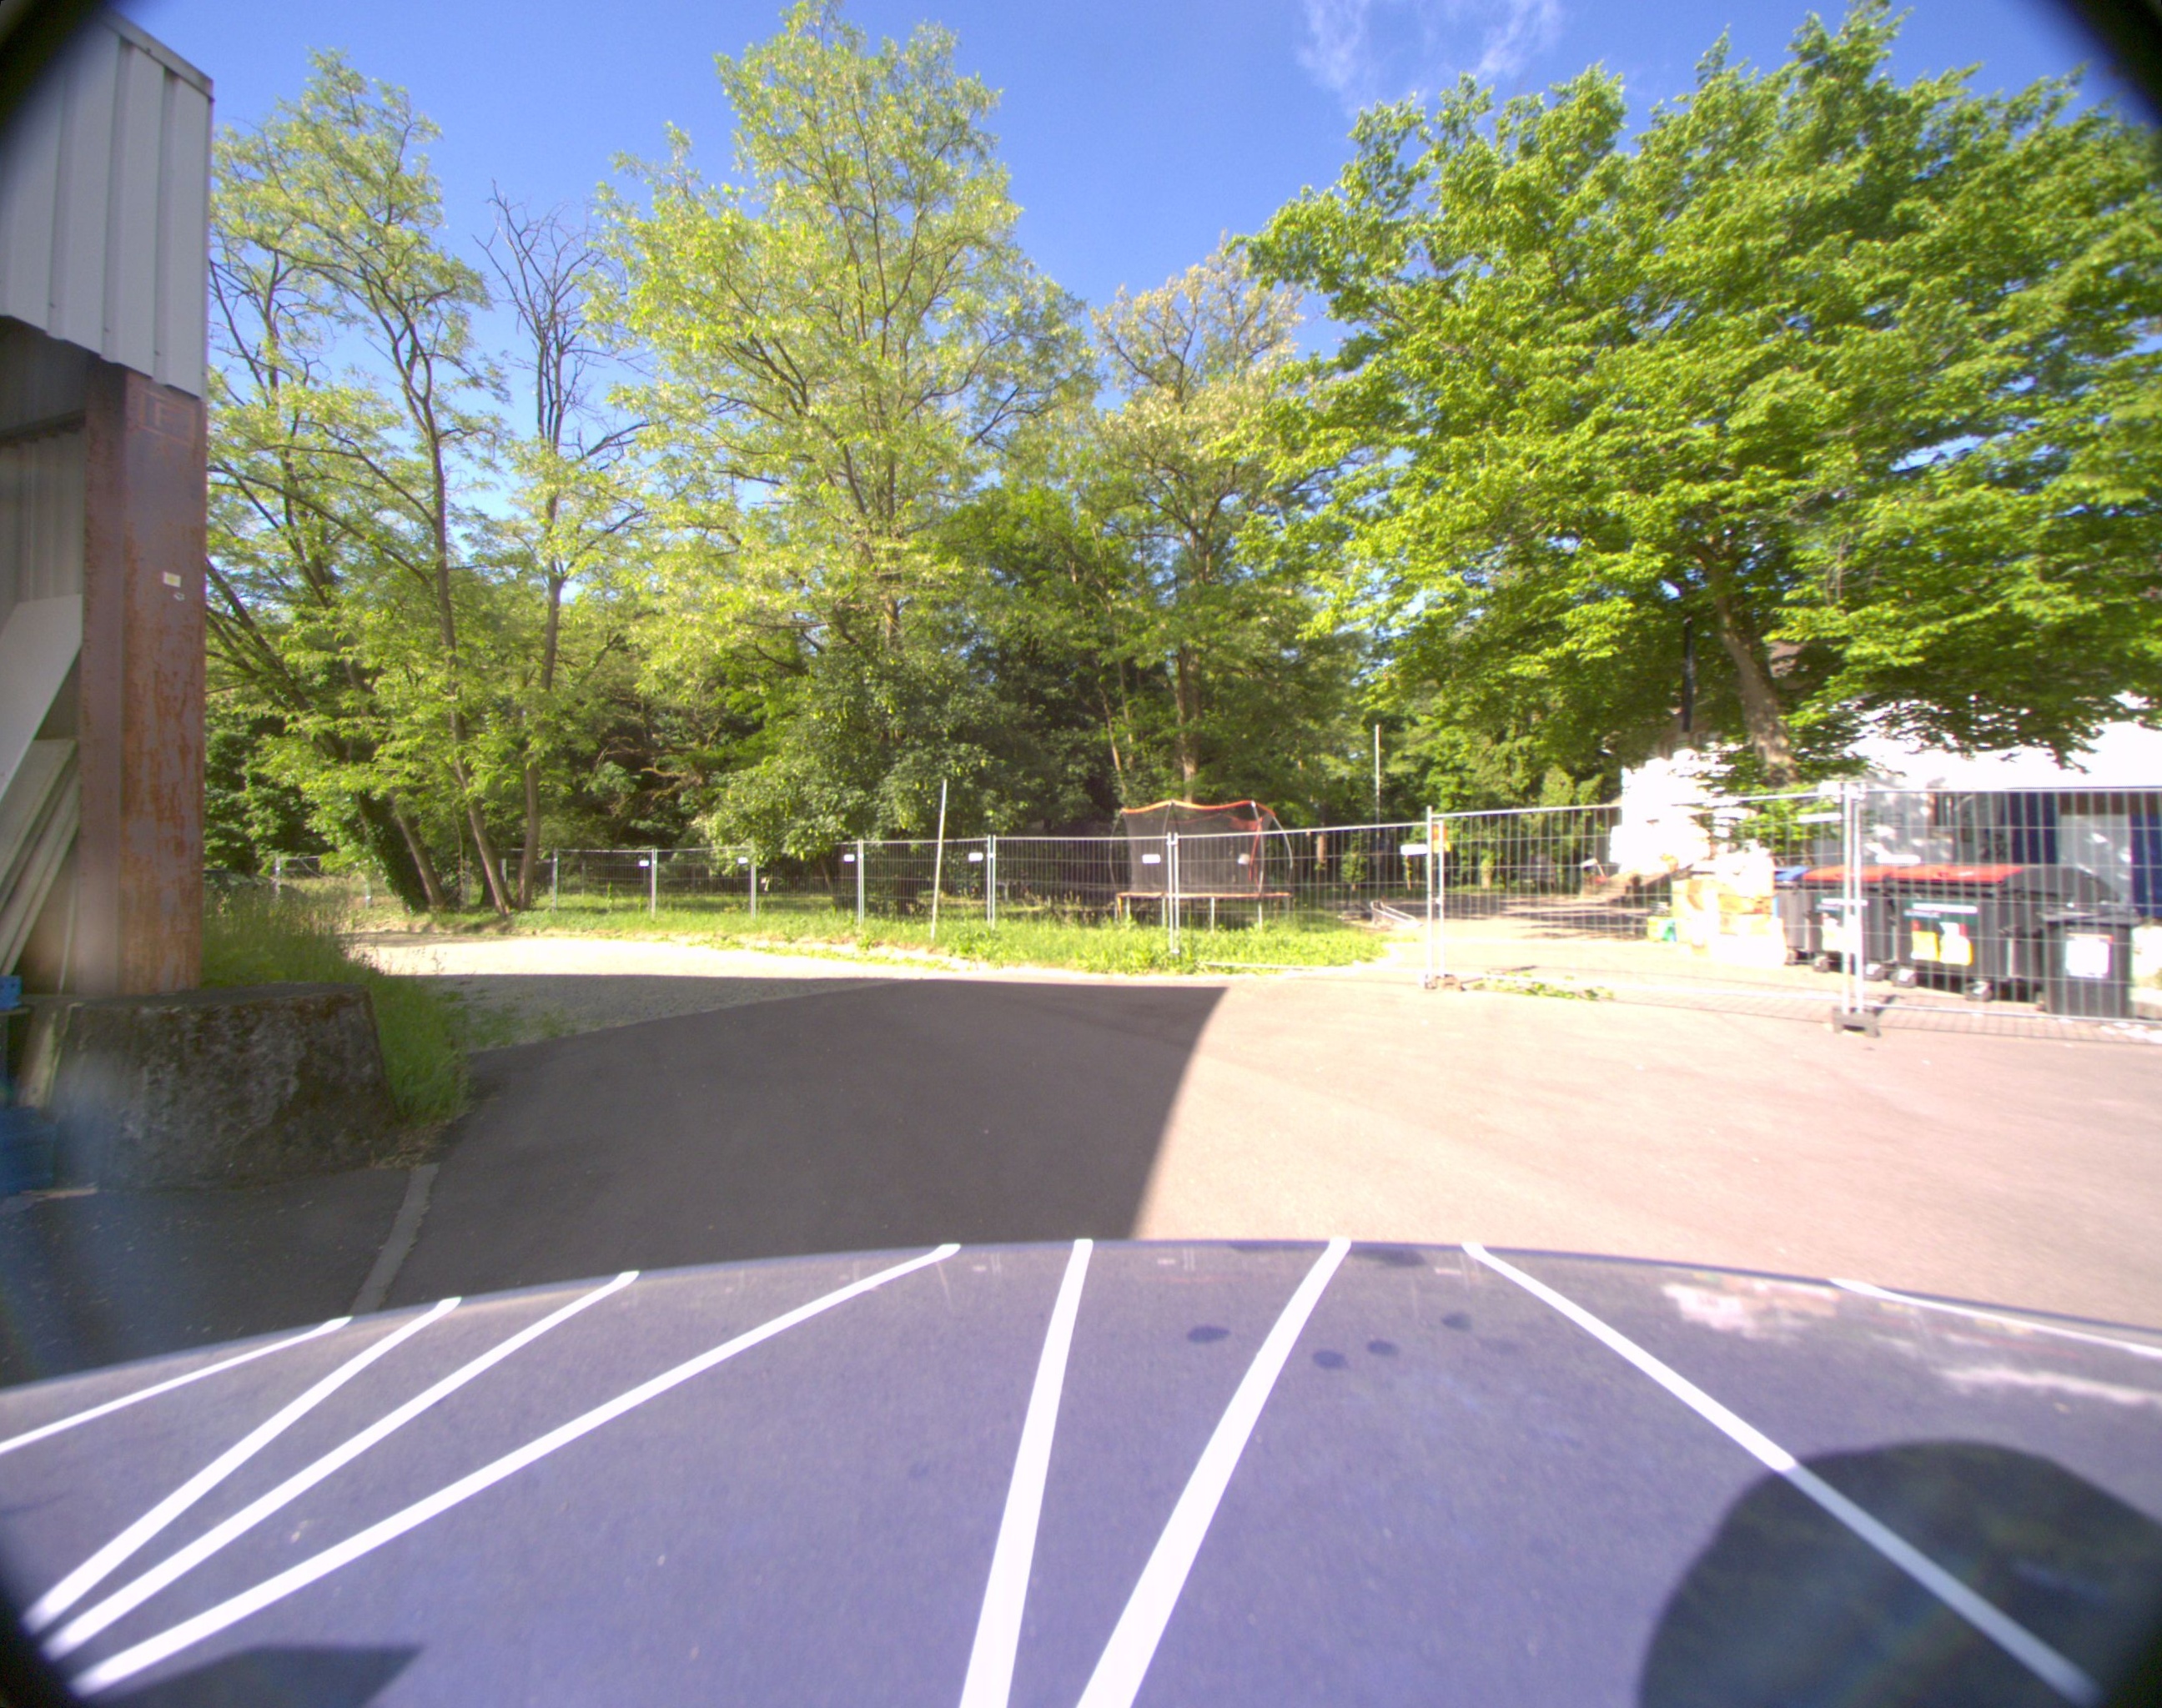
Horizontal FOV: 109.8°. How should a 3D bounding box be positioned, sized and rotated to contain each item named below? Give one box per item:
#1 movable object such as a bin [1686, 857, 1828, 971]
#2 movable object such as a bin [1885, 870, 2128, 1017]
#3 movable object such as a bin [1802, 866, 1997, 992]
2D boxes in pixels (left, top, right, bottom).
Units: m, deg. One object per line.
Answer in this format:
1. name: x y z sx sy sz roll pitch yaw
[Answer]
1. movable object such as a bin: 10.113 0.857 11.437 1.092 1.588 1.231 -1 1 8
2. movable object such as a bin: 9.843 0.908 8.172 1.092 1.424 1.231 -2 0 8
3. movable object such as a bin: 10.122 0.890 9.478 1.092 1.431 1.231 -2 0 8
